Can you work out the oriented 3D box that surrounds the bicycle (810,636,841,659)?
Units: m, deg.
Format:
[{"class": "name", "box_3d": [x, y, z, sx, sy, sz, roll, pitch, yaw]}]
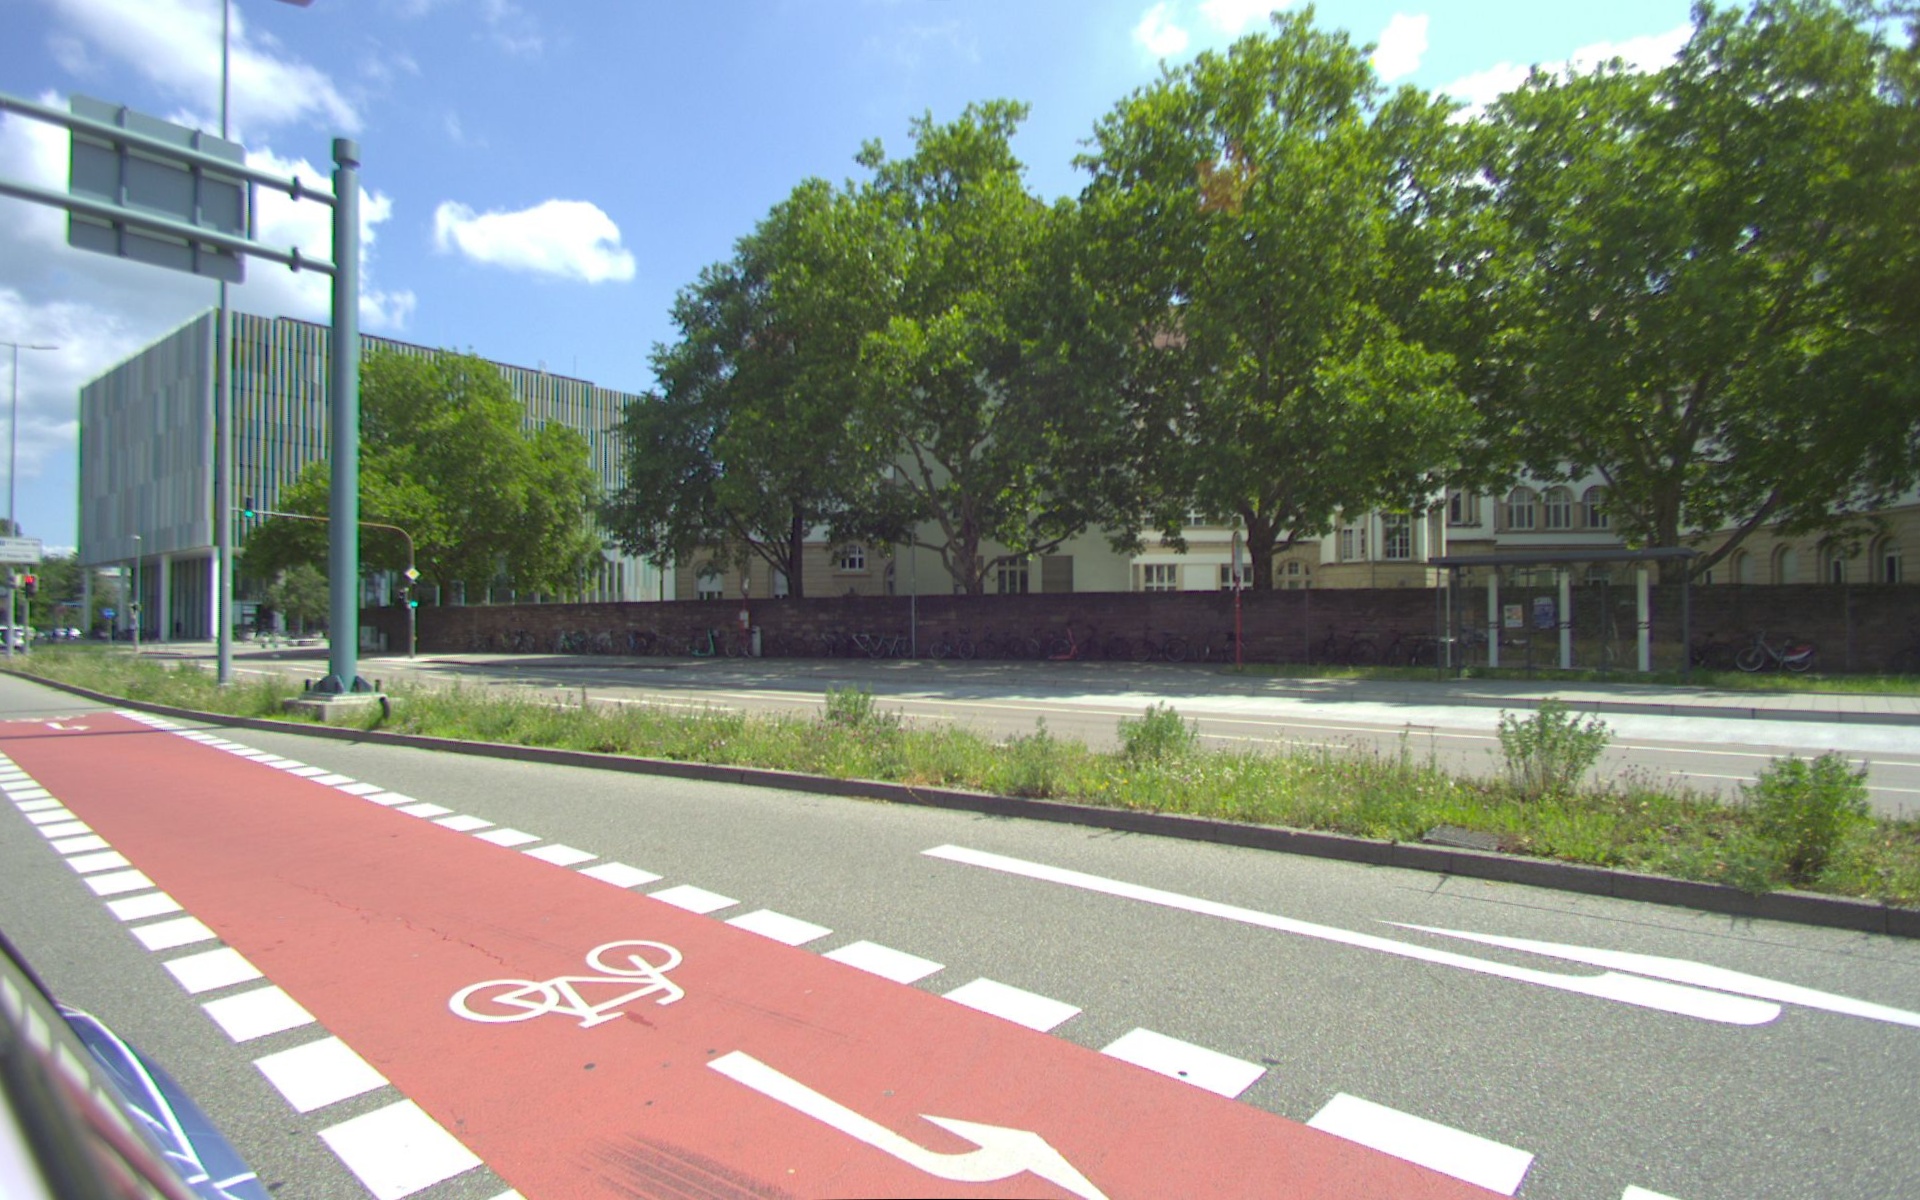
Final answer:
[{"class": "bicycle", "box_3d": [-4.892, 1.723, 36.863, 1.231, 0.837, 0.262, -1, -2, 30]}]

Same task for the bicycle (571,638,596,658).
[{"class": "bicycle", "box_3d": [-16.269, 2.076, 43.730, 1.231, 0.837, 0.262, -1, -2, 30]}]

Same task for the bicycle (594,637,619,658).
[{"class": "bicycle", "box_3d": [-14.986, 2.010, 42.885, 1.231, 0.837, 0.262, -1, -2, 30]}]

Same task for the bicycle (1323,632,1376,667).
[{"class": "bicycle", "box_3d": [11.177, 1.422, 29.038, 1.384, 0.972, 0.263, -1, -2, 18]}]

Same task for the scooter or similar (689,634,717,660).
[{"class": "scooter or similar", "box_3d": [-10.146, 1.845, 39.924, 1.133, 1.028, 0.264, -1, -2, 19]}]

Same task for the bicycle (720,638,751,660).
[{"class": "bicycle", "box_3d": [-8.649, 1.880, 38.955, 1.226, 0.837, 0.263, -1, -2, 19]}]

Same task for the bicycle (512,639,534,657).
[{"class": "bicycle", "box_3d": [-19.964, 2.181, 46.221, 1.230, 0.837, 0.262, -1, -2, 29]}]

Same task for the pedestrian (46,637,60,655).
[{"class": "pedestrian", "box_3d": [-74.999, 3.801, 83.692, 0.687, 1.464, 0.689, -2, -2, 34]}]

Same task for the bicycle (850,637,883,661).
[{"class": "bicycle", "box_3d": [-3.332, 1.748, 35.902, 1.231, 0.837, 0.262, -1, -2, 30]}]

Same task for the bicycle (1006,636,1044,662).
[{"class": "bicycle", "box_3d": [2.130, 1.605, 33.075, 1.230, 0.837, 0.262, -1, -2, 28]}]

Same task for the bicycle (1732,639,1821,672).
[{"class": "bicycle", "box_3d": [20.742, 1.401, 25.728, 1.734, 0.823, 0.327, -1, -2, 18]}]

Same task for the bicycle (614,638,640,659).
[{"class": "bicycle", "box_3d": [-13.889, 2.021, 42.220, 1.231, 0.837, 0.262, -1, -2, 30]}]

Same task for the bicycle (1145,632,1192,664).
[{"class": "bicycle", "box_3d": [6.398, 1.471, 31.042, 1.385, 0.972, 0.263, -1, -2, 20]}]

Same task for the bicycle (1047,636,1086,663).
[{"class": "bicycle", "box_3d": [3.407, 1.588, 32.463, 1.230, 0.837, 0.262, -1, -2, 28]}]

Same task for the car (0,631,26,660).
[{"class": "car", "box_3d": [-59.510, 2.789, 62.619, 4.508, 1.724, 1.973, -2, -2, 40]}]

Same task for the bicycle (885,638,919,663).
[{"class": "bicycle", "box_3d": [-2.017, 1.745, 35.122, 1.231, 0.837, 0.262, -1, -2, 30]}]

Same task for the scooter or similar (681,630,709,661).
[{"class": "scooter or similar", "box_3d": [-10.207, 1.756, 38.949, 1.230, 1.199, 0.262, -1, -2, 29]}]

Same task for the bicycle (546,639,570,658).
[{"class": "bicycle", "box_3d": [-17.484, 2.101, 43.970, 1.230, 0.837, 0.262, -1, -2, 29]}]

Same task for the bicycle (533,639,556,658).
[{"class": "bicycle", "box_3d": [-18.597, 2.156, 45.314, 1.230, 0.837, 0.262, -1, -2, 29]}]

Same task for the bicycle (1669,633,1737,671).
[{"class": "bicycle", "box_3d": [19.231, 1.341, 26.201, 1.384, 0.972, 0.263, -1, -2, 18]}]

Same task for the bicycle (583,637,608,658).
[{"class": "bicycle", "box_3d": [-15.333, 1.998, 42.561, 1.230, 0.837, 0.262, -1, -2, 29]}]

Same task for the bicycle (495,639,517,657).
[{"class": "bicycle", "box_3d": [-21.068, 2.222, 46.978, 1.231, 0.837, 0.262, -1, -2, 30]}]

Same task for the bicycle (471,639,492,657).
[{"class": "bicycle", "box_3d": [-22.694, 2.264, 47.963, 1.231, 0.837, 0.262, -1, -2, 30]}]

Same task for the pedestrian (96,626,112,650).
[{"class": "pedestrian", "box_3d": [-72.324, 3.232, 85.519, 0.994, 2.029, 0.853, -2, -2, 39]}]

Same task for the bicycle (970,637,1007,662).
[{"class": "bicycle", "box_3d": [0.958, 1.652, 33.724, 1.230, 0.837, 0.262, -1, -2, 28]}]

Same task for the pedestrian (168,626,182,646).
[{"class": "pedestrian", "box_3d": [-79.565, 3.682, 102.561, 0.994, 2.029, 0.853, -2, -2, 40]}]

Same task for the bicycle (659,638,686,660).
[{"class": "bicycle", "box_3d": [-11.540, 1.960, 40.568, 1.231, 0.837, 0.262, -1, -2, 30]}]

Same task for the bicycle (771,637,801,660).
[{"class": "bicycle", "box_3d": [-6.472, 1.804, 37.571, 1.231, 0.837, 0.262, -1, -2, 30]}]

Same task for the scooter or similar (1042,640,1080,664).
[{"class": "scooter or similar", "box_3d": [3.176, 1.623, 31.814, 1.133, 0.734, 0.264, -1, -2, 18]}]

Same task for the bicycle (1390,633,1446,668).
[{"class": "bicycle", "box_3d": [12.862, 1.412, 28.425, 1.384, 0.972, 0.263, -1, -2, 18]}]

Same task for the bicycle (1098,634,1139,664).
[{"class": "bicycle", "box_3d": [4.936, 1.517, 31.587, 1.230, 0.915, 0.262, -1, -2, 28]}]

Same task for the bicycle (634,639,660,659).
[{"class": "bicycle", "box_3d": [-12.841, 2.003, 41.531, 1.231, 0.837, 0.262, -1, -2, 30]}]

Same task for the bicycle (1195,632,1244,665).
[{"class": "bicycle", "box_3d": [7.804, 1.464, 30.422, 1.389, 0.972, 0.262, -1, -2, 28]}]

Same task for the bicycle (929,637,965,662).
[{"class": "bicycle", "box_3d": [-0.443, 1.667, 34.266, 1.230, 0.837, 0.262, -1, -2, 28]}]

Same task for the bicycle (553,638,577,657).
[{"class": "bicycle", "box_3d": [-17.408, 2.105, 44.564, 1.230, 0.837, 0.262, -1, -2, 29]}]

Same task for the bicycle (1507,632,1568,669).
[{"class": "bicycle", "box_3d": [15.628, 1.364, 27.395, 1.384, 0.972, 0.263, -1, -2, 18]}]
